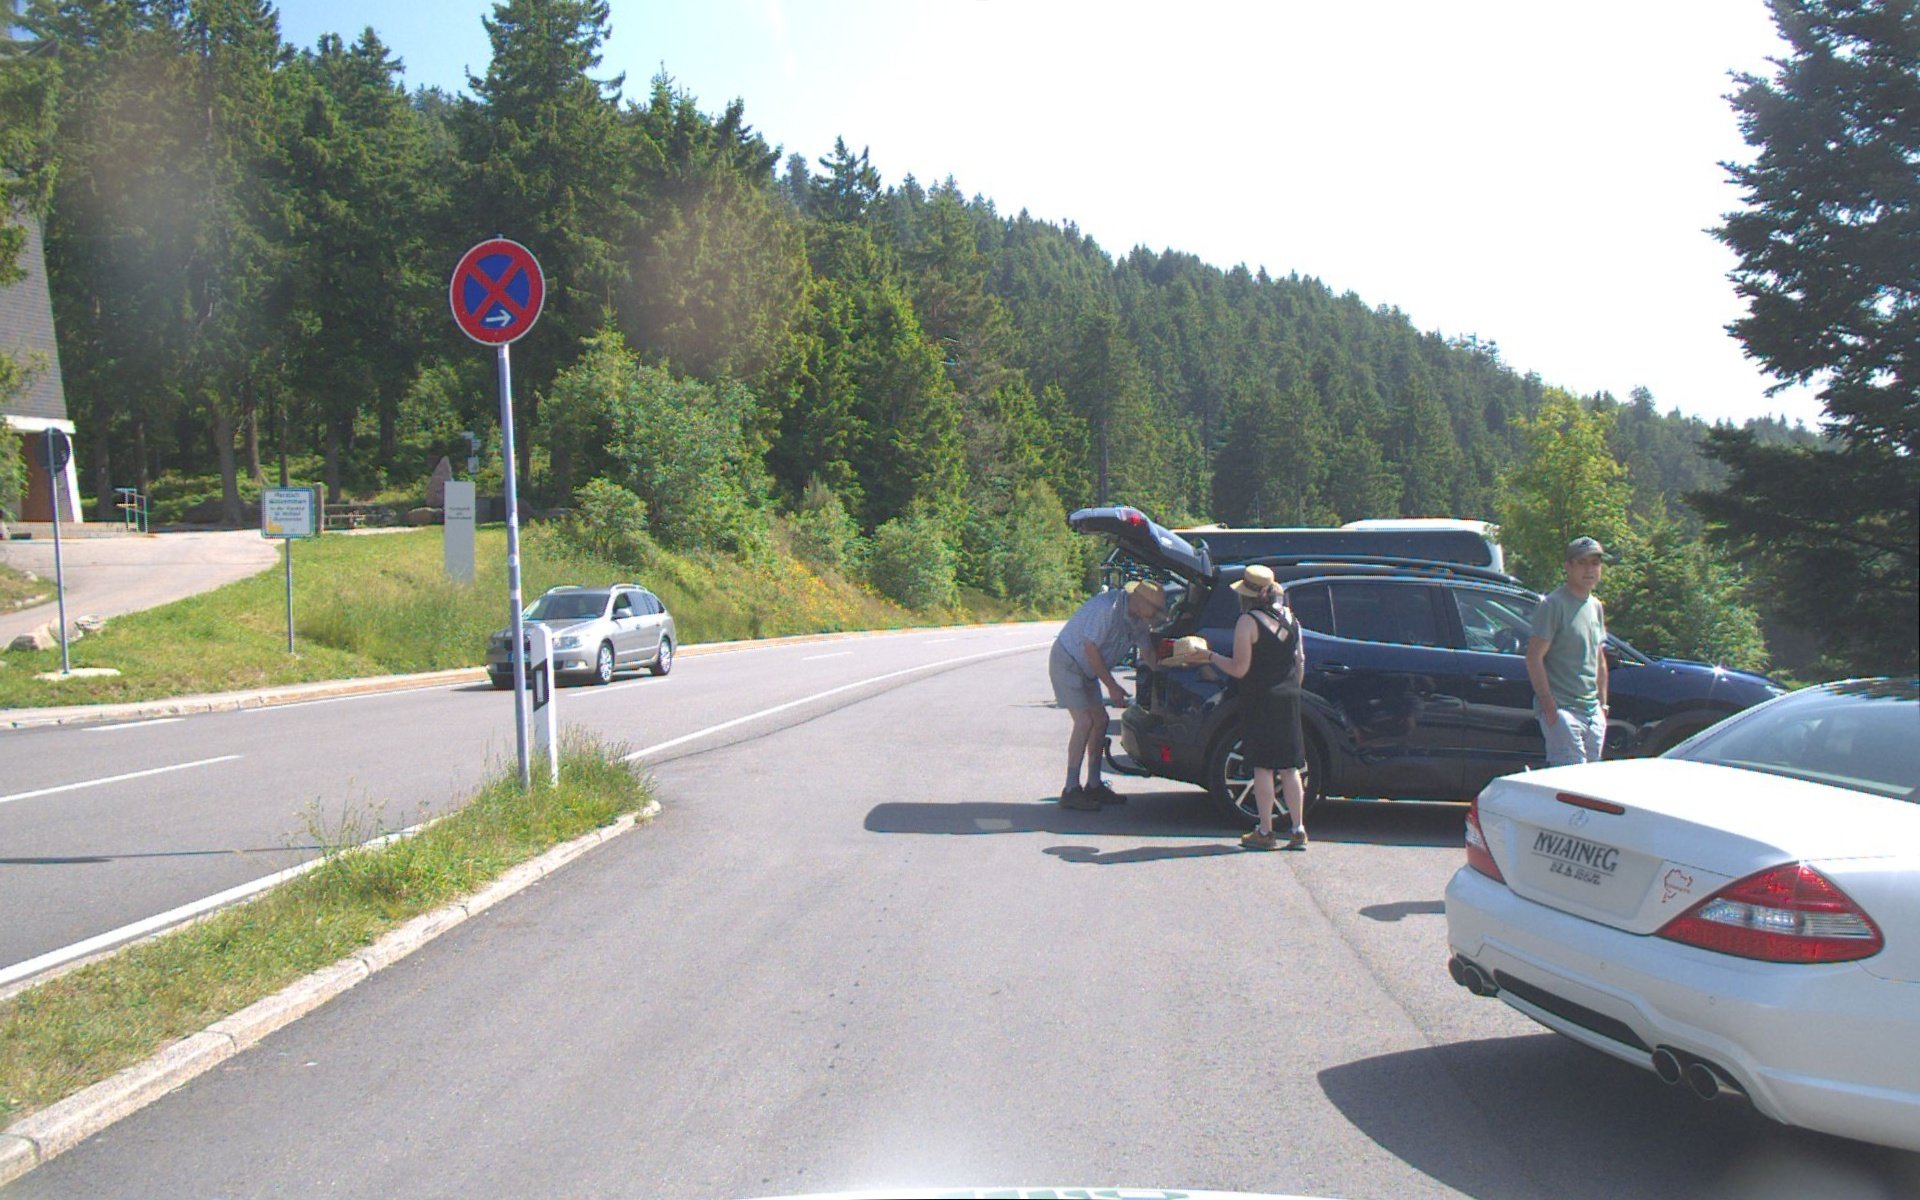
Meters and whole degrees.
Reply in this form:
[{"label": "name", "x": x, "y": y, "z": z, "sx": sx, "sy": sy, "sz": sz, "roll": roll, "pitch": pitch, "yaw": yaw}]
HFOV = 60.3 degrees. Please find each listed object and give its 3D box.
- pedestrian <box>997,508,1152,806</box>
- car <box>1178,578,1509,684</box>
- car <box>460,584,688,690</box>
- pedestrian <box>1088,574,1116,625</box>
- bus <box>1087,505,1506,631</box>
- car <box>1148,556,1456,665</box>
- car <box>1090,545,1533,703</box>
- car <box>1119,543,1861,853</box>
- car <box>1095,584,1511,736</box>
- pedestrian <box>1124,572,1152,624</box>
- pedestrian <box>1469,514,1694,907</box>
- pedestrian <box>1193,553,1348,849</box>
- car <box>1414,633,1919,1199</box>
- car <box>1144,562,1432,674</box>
[{"label": "pedestrian", "x": 0.770, "y": 0.344, "z": 11.118, "sx": 0.723, "sy": 1.903, "sz": 0.755, "roll": 3, "pitch": 3, "yaw": 38}, {"label": "car", "x": 5.056, "y": 0.402, "z": 22.288, "sx": 4.153, "sy": 1.291, "sz": 1.840, "roll": -1, "pitch": 0, "yaw": 8}, {"label": "car", "x": -5.887, "y": 0.500, "z": 25.879, "sx": 1.839, "sy": 1.500, "sz": 4.718, "roll": 0, "pitch": 1, "yaw": 9}, {"label": "pedestrian", "x": 4.516, "y": -0.016, "z": 52.574, "sx": 0.754, "sy": 1.613, "sz": 0.773, "roll": -1, "pitch": 0, "yaw": 14}, {"label": "bus", "x": 10.682, "y": -0.945, "z": 52.934, "sx": 12.818, "sy": 3.594, "sz": 3.045, "roll": -1, "pitch": 0, "yaw": 18}, {"label": "car", "x": 5.704, "y": 0.173, "z": 28.077, "sx": 4.926, "sy": 1.680, "sz": 2.049, "roll": -1, "pitch": 0, "yaw": 8}, {"label": "car", "x": 4.061, "y": 0.282, "z": 19.534, "sx": 4.843, "sy": 1.725, "sz": 1.947, "roll": -1, "pitch": 0, "yaw": 10}, {"label": "car", "x": 3.258, "y": 0.583, "z": 10.875, "sx": 4.254, "sy": 1.654, "sz": 1.870, "roll": 3, "pitch": 0, "yaw": 2}, {"label": "car", "x": 3.468, "y": 0.586, "z": 17.286, "sx": 3.997, "sy": 1.400, "sz": 1.703, "roll": 1, "pitch": 0, "yaw": 1}, {"label": "pedestrian", "x": 5.594, "y": -0.060, "z": 52.039, "sx": 0.754, "sy": 1.613, "sz": 0.773, "roll": -1, "pitch": 0, "yaw": 14}, {"label": "pedestrian", "x": 3.071, "y": 0.518, "z": 8.204, "sx": 0.736, "sy": 1.831, "sz": 0.730, "roll": 1, "pitch": 0, "yaw": -24}, {"label": "pedestrian", "x": 1.781, "y": 0.567, "z": 9.531, "sx": 0.701, "sy": 1.641, "sz": 0.535, "roll": 1, "pitch": 0, "yaw": -13}, {"label": "car", "x": 3.811, "y": 0.860, "z": 5.157, "sx": 4.325, "sy": 1.318, "sz": 1.749, "roll": 2, "pitch": 1, "yaw": -16}, {"label": "car", "x": 4.956, "y": 0.267, "z": 25.390, "sx": 4.153, "sy": 1.581, "sz": 1.840, "roll": -1, "pitch": 0, "yaw": 8}]
